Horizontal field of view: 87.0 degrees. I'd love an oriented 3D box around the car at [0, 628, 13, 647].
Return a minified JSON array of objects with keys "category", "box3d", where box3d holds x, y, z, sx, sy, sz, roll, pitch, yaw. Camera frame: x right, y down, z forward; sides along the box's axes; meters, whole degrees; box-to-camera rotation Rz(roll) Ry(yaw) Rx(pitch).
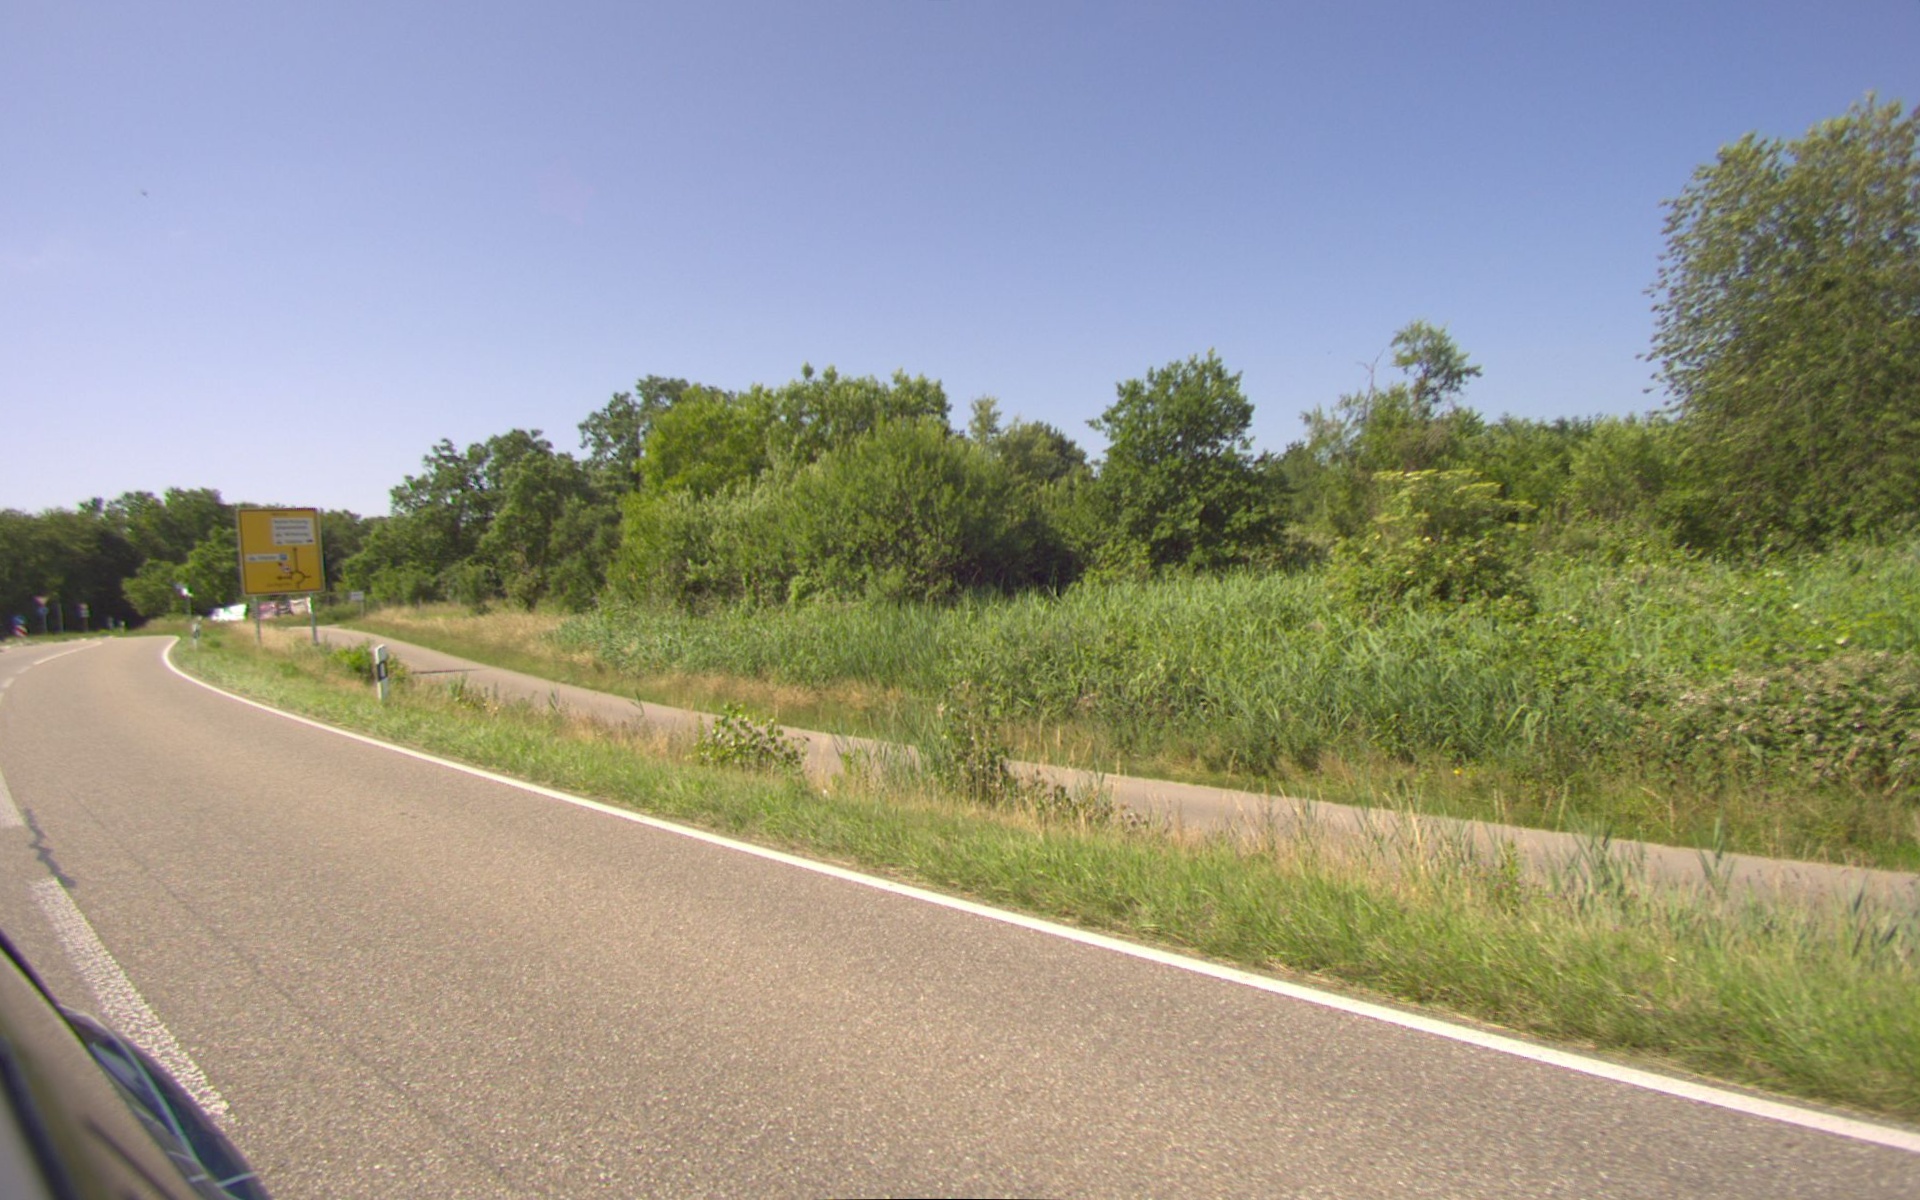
[{"category":"car","box3d":[-91.269,3.585,95.216,4.329,1.668,1.693,-2,2,27]}]
